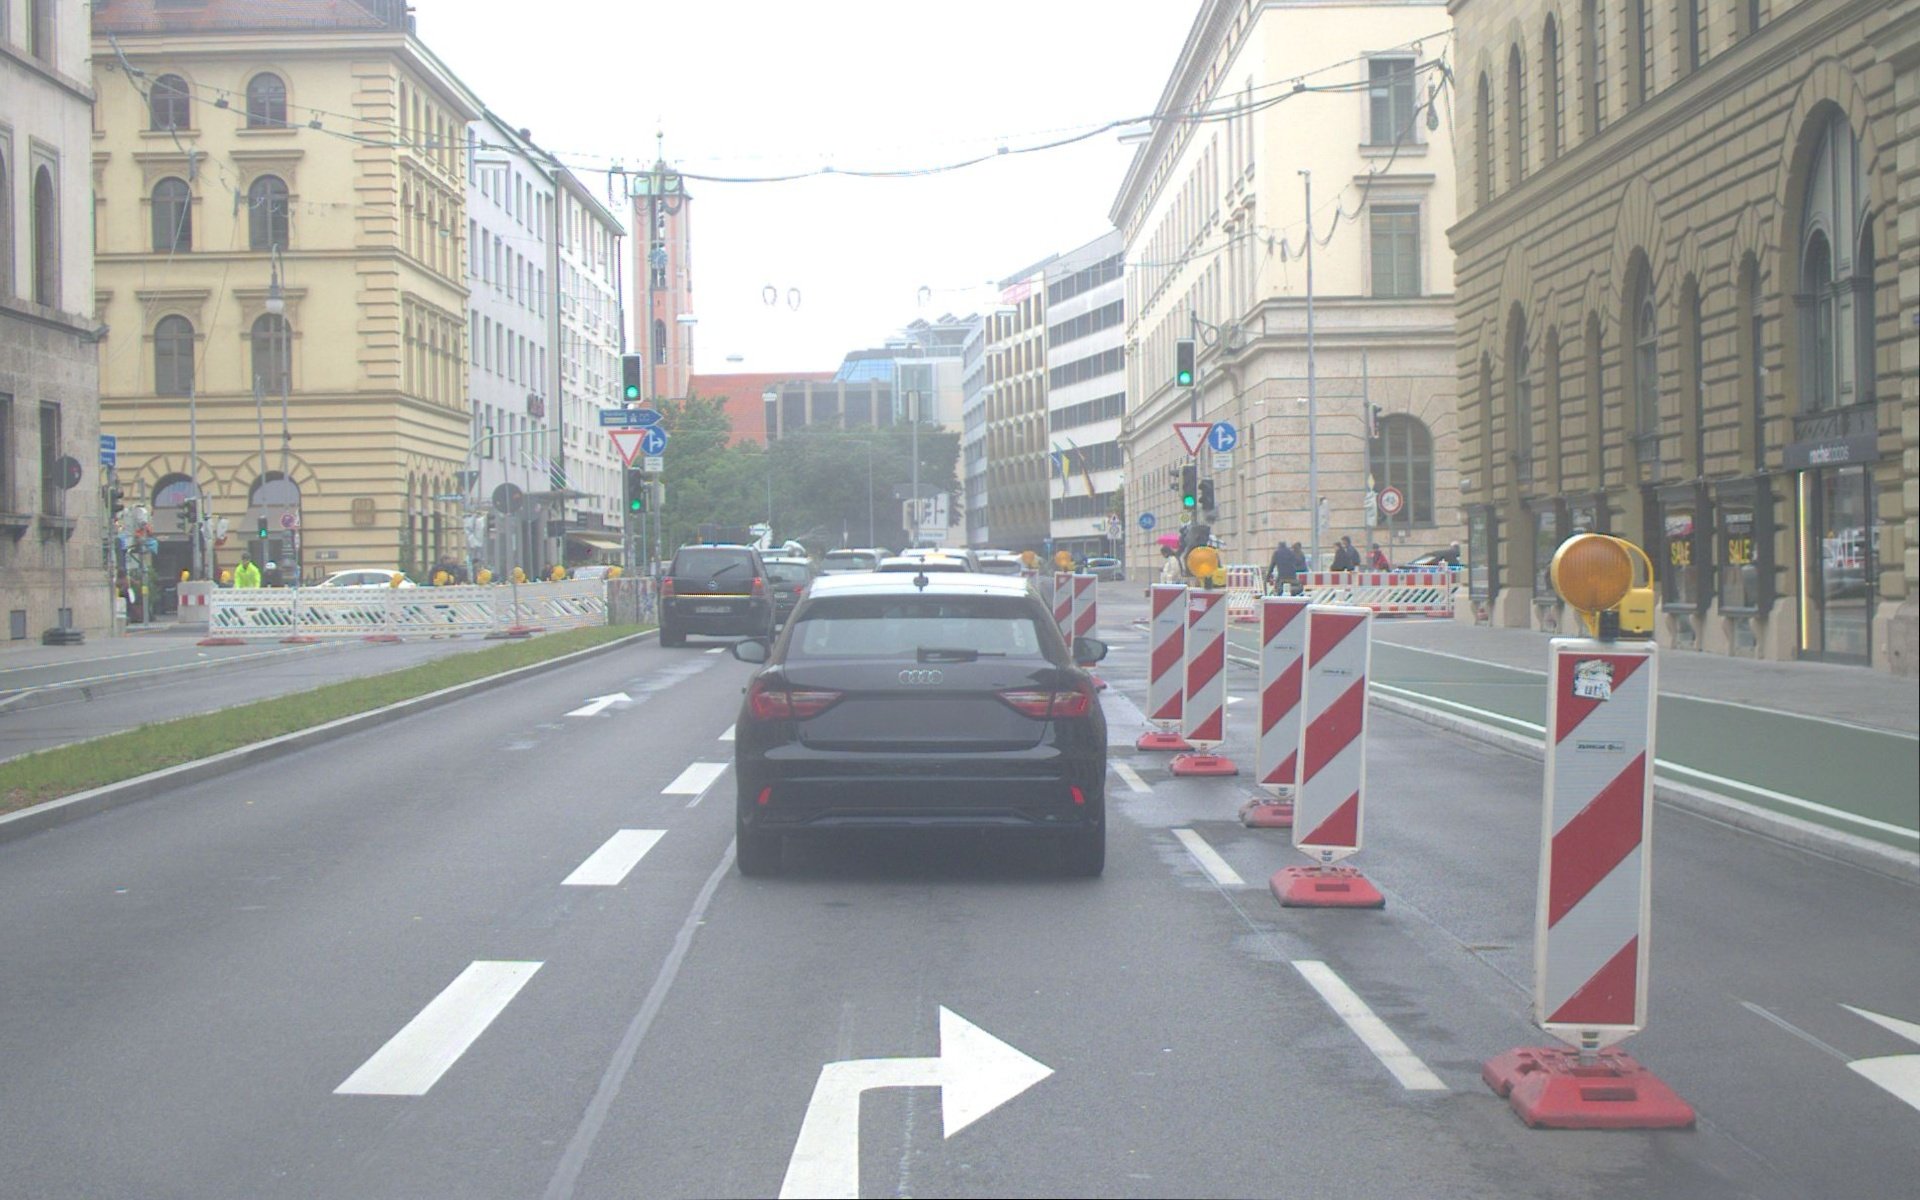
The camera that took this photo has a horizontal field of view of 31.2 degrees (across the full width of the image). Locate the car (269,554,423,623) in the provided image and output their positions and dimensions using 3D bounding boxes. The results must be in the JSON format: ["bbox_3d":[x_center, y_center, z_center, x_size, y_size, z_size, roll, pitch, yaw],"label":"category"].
[{"bbox_3d":[-16.663,-0.334,93.245,3.739,1.792,1.868,-1,1,-25],"label":"car"}]

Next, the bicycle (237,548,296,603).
[{"bbox_3d":[-16.118,-0.580,79.995,0.787,1.238,2.199,0,1,4],"label":"bicycle"}]

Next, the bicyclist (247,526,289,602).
[{"bbox_3d":[-16.116,-0.842,80.044,0.798,1.770,0.689,0,1,3],"label":"bicyclist"}]

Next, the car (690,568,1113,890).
[{"bbox_3d":[-0.280,0.551,17.173,1.863,1.383,4.000,0,1,-1],"label":"car"}]

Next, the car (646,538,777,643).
[{"bbox_3d":[-3.962,-0.181,55.229,1.865,1.596,3.851,-1,1,-1],"label":"car"}]

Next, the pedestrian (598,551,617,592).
[{"bbox_3d":[-15.182,-1.224,147.912,0.737,1.766,0.736,0,1,-1],"label":"pedestrian"}]

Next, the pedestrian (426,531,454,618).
[{"bbox_3d":[-10.509,-0.519,69.500,0.512,1.737,1.043,-1,1,-10],"label":"pedestrian"}]

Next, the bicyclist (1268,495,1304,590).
[{"bbox_3d":[6.394,-1.122,67.438,0.566,1.847,0.799,0,1,-5],"label":"bicyclist"}]

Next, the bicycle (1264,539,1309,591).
[{"bbox_3d":[6.395,-0.696,67.431,0.584,1.008,1.657,0,1,-5],"label":"bicycle"}]

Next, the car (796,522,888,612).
[{"bbox_3d":[-2.718,-0.791,80.103,1.993,2.007,4.000,-1,1,0],"label":"car"}]

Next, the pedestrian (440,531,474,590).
[{"bbox_3d":[-15.251,-1.197,104.235,0.734,1.766,0.738,1,1,21],"label":"pedestrian"}]

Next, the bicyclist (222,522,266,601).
[{"bbox_3d":[-15.727,-0.848,75.520,0.798,1.742,0.689,0,1,3],"label":"bicyclist"}]

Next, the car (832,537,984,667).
[{"bbox_3d":[-0.719,-0.010,44.841,1.768,1.611,4.001,0,1,-4],"label":"car"}]

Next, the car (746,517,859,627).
[{"bbox_3d":[-2.947,-0.548,64.974,1.993,2.007,4.000,-1,1,-1],"label":"car"}]

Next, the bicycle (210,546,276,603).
[{"bbox_3d":[-15.733,-0.569,75.520,0.787,1.238,2.448,0,1,4],"label":"bicycle"}]
